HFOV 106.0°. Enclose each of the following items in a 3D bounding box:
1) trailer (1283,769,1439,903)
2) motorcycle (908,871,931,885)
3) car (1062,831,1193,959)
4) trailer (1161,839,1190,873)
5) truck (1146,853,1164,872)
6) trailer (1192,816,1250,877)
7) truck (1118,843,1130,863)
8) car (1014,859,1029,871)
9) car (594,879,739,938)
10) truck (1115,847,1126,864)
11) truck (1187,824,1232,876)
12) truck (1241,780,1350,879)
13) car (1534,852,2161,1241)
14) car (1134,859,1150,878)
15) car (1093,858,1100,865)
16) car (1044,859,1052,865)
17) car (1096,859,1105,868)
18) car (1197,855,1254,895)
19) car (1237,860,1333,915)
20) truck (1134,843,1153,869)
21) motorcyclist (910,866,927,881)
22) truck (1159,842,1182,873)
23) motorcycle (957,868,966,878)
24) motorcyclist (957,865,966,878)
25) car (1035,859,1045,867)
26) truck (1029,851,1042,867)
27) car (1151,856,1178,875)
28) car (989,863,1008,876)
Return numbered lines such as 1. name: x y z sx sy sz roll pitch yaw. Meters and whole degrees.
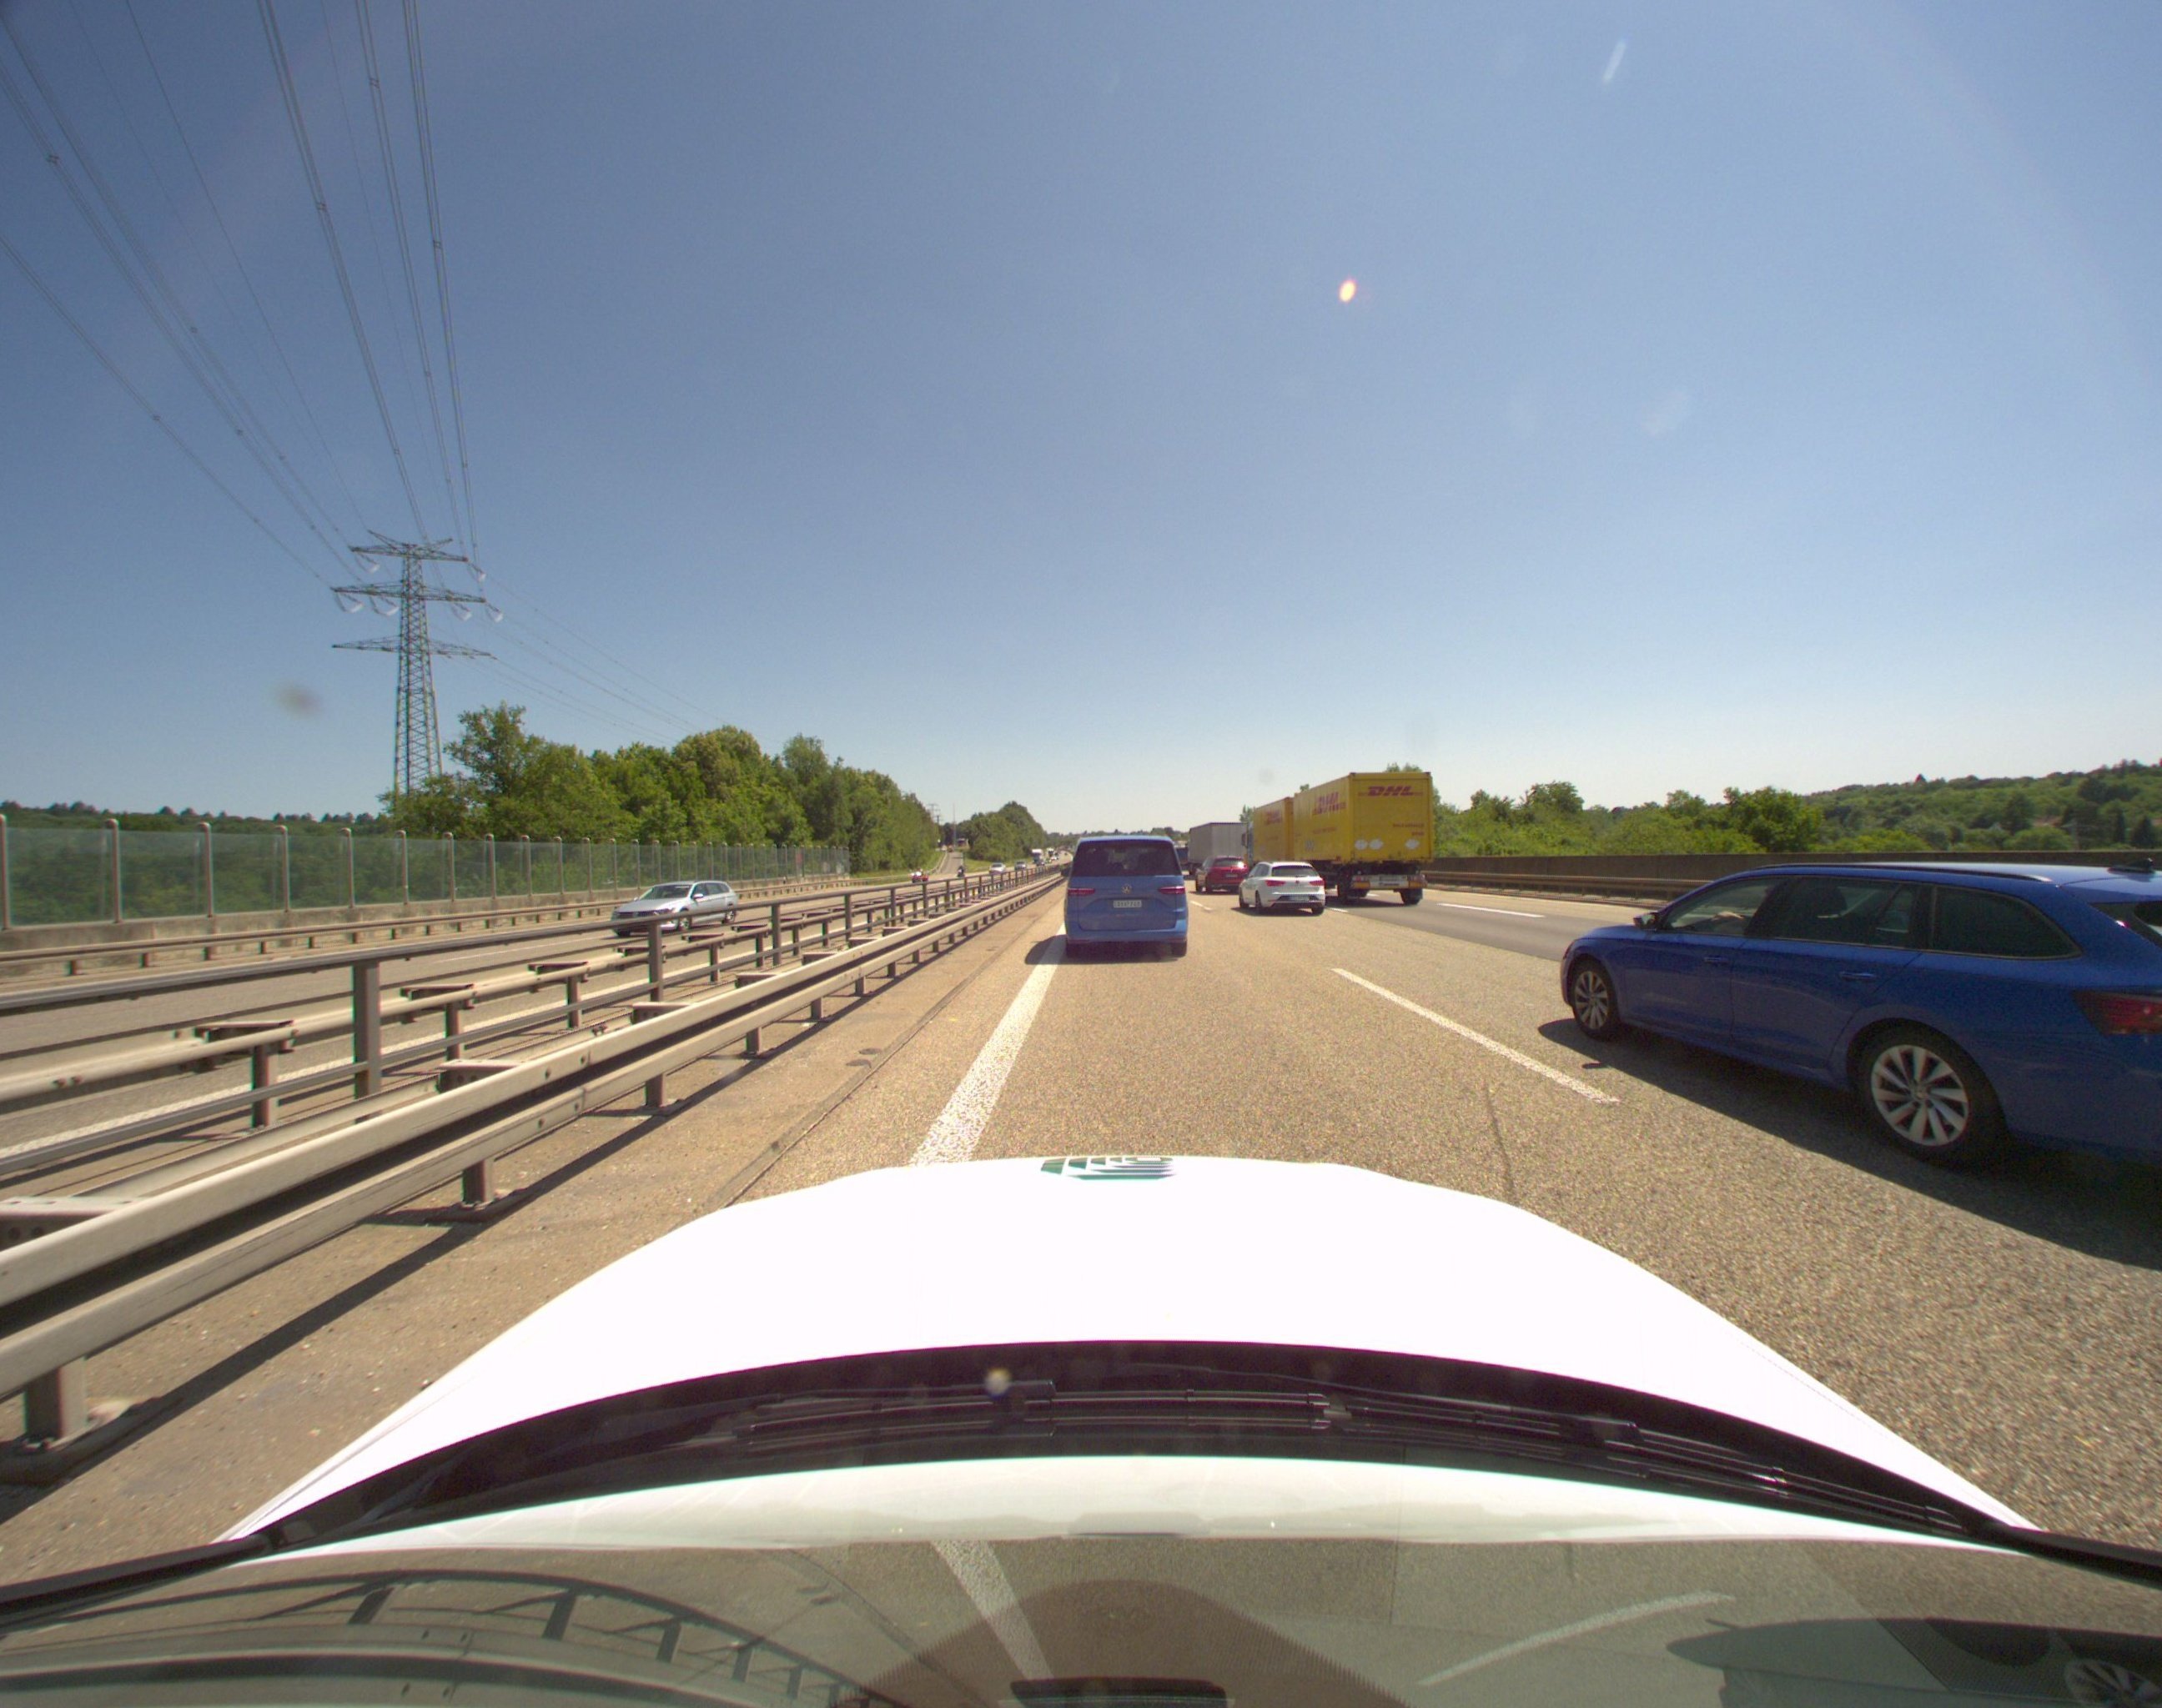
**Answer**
1. trailer: 9.528 -0.456 28.947 2.691 4.024 8.932 0 -1 2
2. motorcycle: -14.240 2.109 71.777 1.361 1.099 2.577 -4 0 1
3. car: 0.742 0.612 13.811 1.875 1.837 4.001 -1 -1 2
4. trailer: 10.856 0.304 94.300 2.371 3.744 11.190 0 -1 1
5. truck: 12.799 1.529 141.847 2.347 3.219 9.739 0 -1 0
6. trailer: 10.346 -0.412 61.469 2.744 4.146 11.315 0 -1 2
7. truck: 12.071 -0.201 228.388 2.824 5.373 12.553 0 -1 0
8. car: -9.286 1.683 127.100 1.823 1.609 4.169 -4 -1 1
9. car: -11.768 1.502 23.499 1.903 1.394 4.166 -3 -1 2
10. truck: 12.262 0.589 252.335 2.824 5.040 12.912 -2 -1 0
11. truck: 10.504 -0.242 67.291 2.758 4.096 6.986 0 -1 2
12. truck: 9.830 -0.905 38.616 2.712 4.055 10.339 0 -1 2
13. car: 4.929 0.727 5.189 1.703 1.440 4.502 -1 -1 2
14. car: 6.392 1.525 85.907 1.577 2.014 3.494 0 -1 2
15. car: 4.197 1.962 221.941 1.733 1.911 3.682 0 -1 1
16. car: -8.825 2.074 220.237 1.823 1.609 4.169 -2 -1 1
17. car: 4.520 2.279 189.839 1.986 2.014 4.001 0 -1 1
18. car: 6.170 0.860 35.248 1.844 1.608 4.001 -1 -1 2
19. car: 5.596 0.877 22.866 1.774 1.387 4.189 -1 -1 2
20. truck: 12.172 0.458 159.227 2.824 5.040 11.144 0 -1 0
21. motorcyclist: -14.282 1.697 71.513 1.182 1.256 1.119 -4 0 1
22. truck: 11.016 0.423 100.565 2.359 3.722 6.034 0 -1 1
23. motorcycle: -13.945 2.259 95.014 0.699 1.071 2.306 -2 0 2
24. motorcyclist: -13.971 2.068 95.106 0.895 1.441 1.082 -2 0 1
25. car: -8.721 1.983 173.728 1.823 1.609 4.169 -3 -1 1
26. truck: -13.060 1.455 233.610 2.978 4.279 7.190 -2 -1 1
27. car: 6.830 0.932 66.913 1.832 1.414 3.999 -1 -1 0
28. car: -9.956 1.888 98.660 1.709 1.434 4.177 -4 -1 1
